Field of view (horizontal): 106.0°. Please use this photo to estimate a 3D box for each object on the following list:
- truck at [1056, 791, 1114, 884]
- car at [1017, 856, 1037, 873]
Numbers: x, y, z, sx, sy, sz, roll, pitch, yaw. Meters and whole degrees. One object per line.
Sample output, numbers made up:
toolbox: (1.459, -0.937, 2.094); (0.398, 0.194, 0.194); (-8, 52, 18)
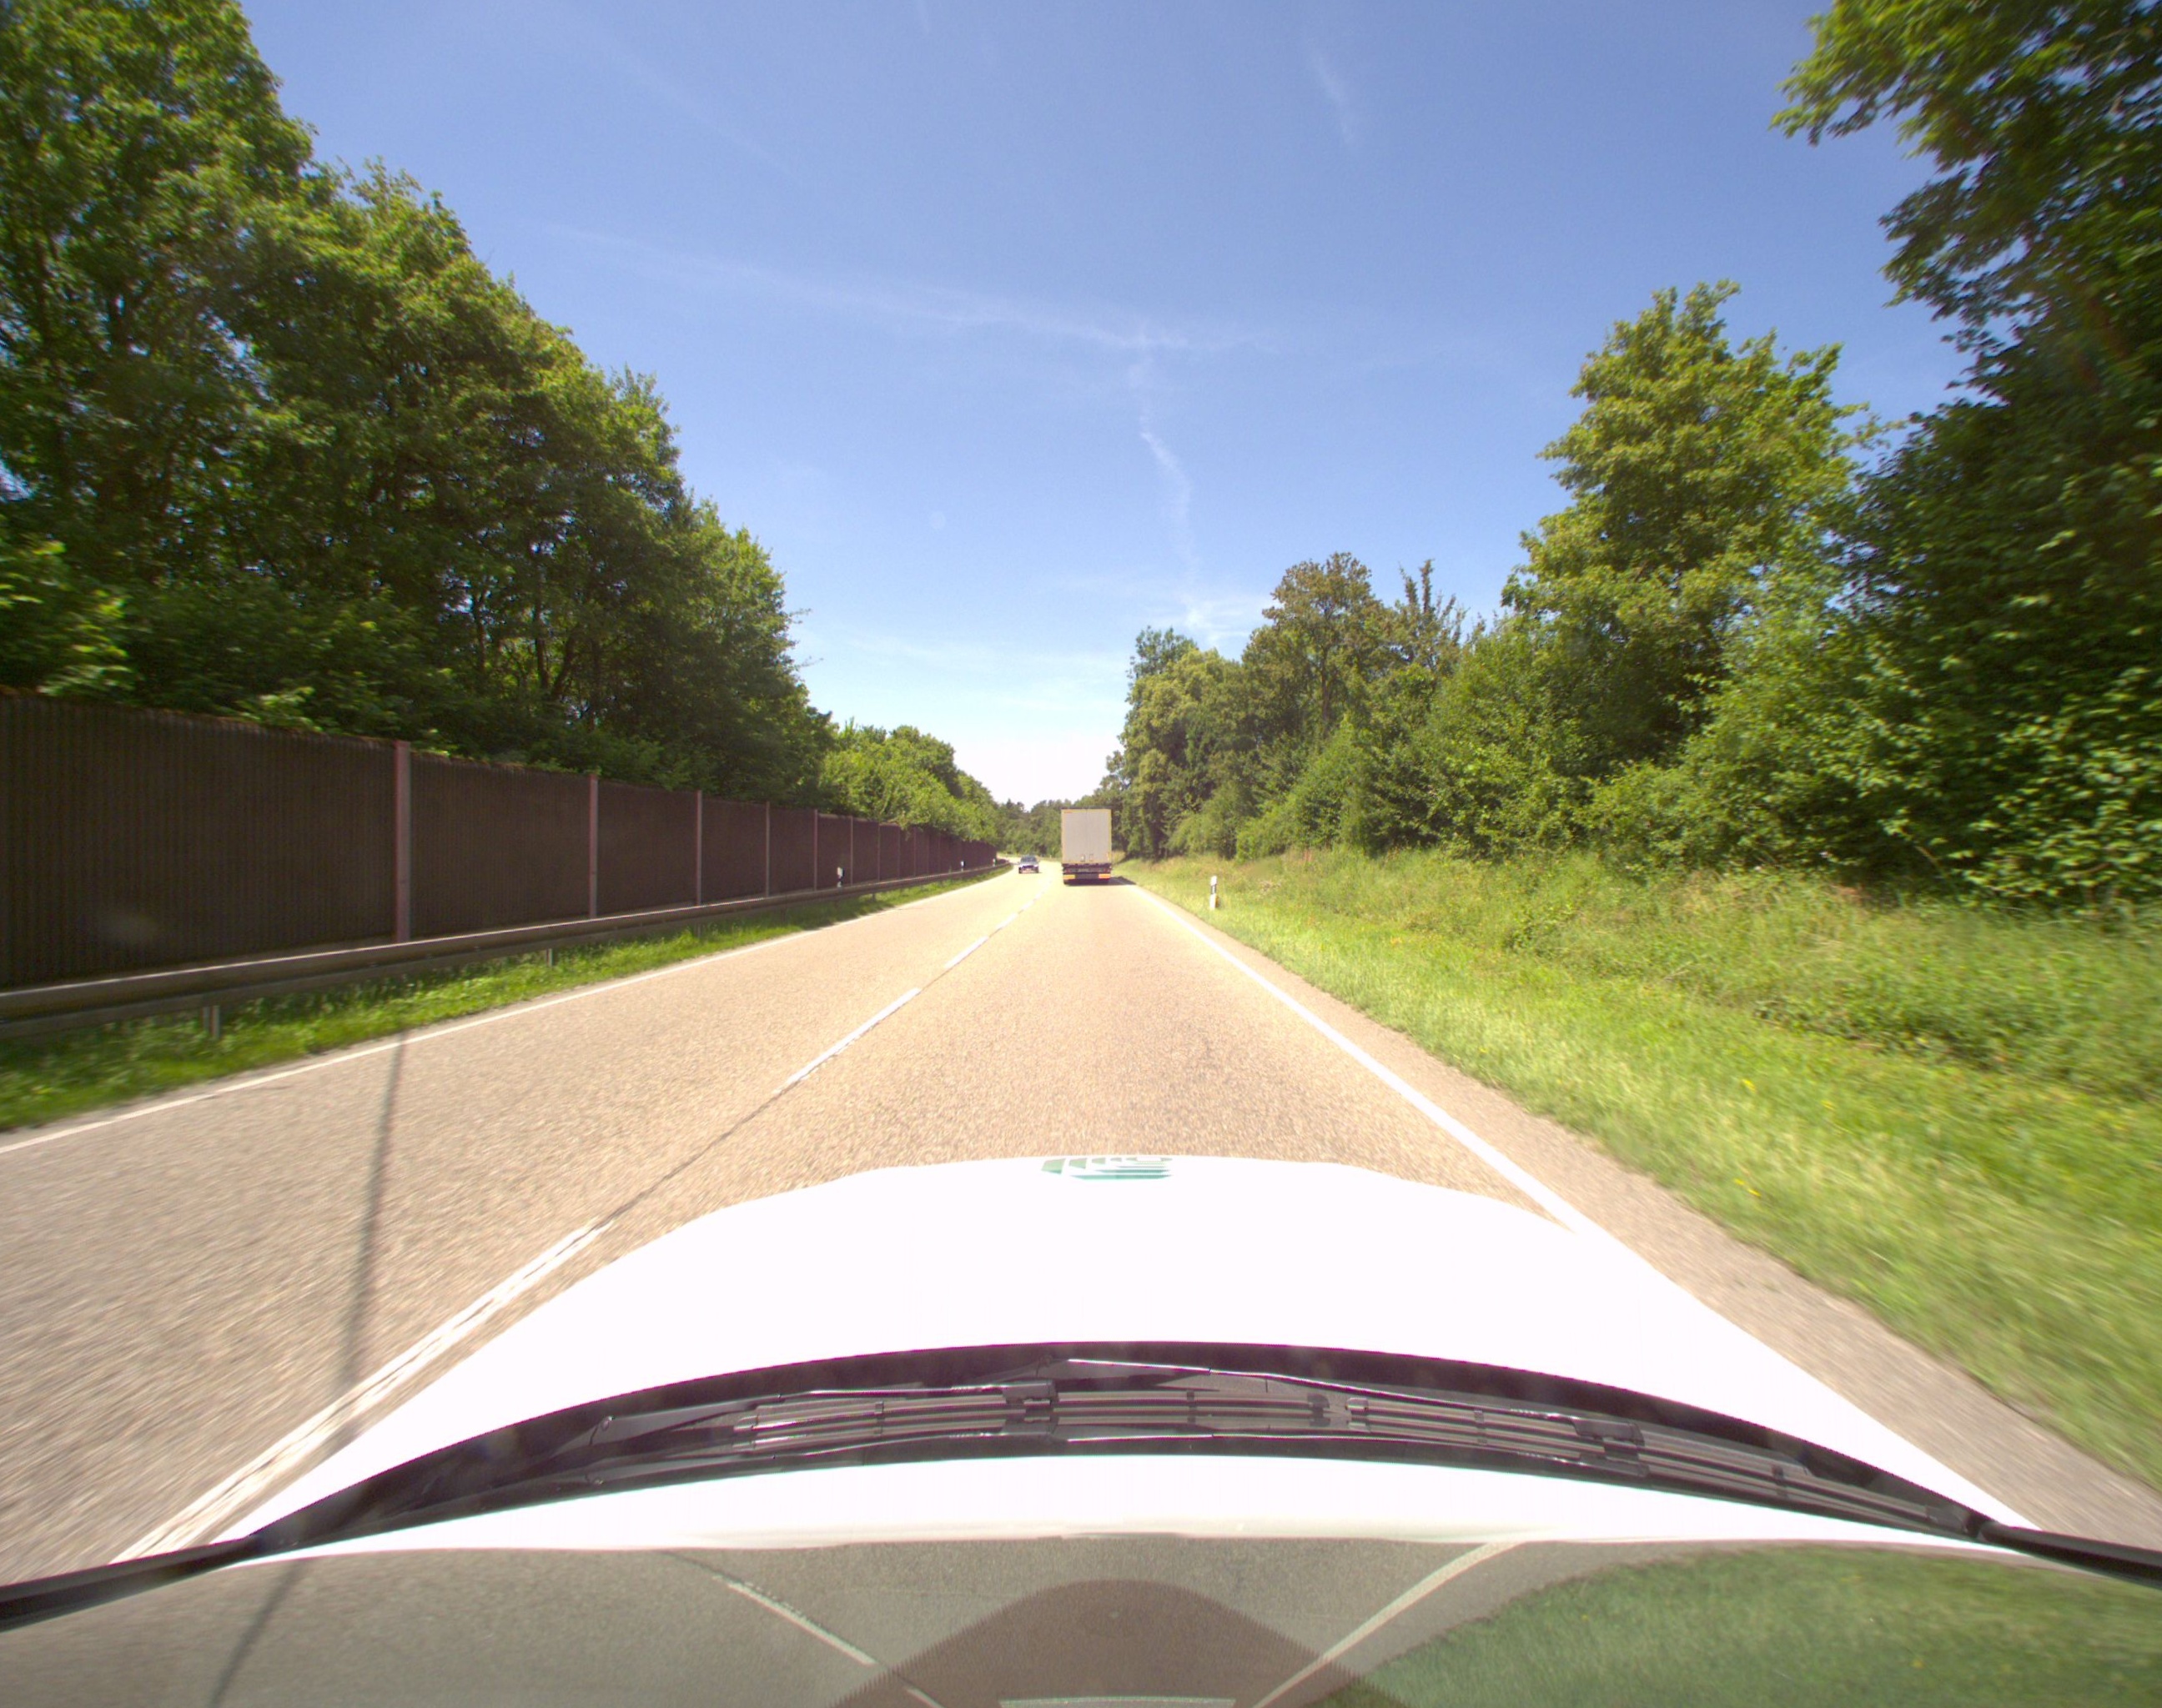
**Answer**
truck: (0.263, -0.752, 43.817); (2.813, 4.604, 6.665); (-1, -1, 1)
car: (-4.940, 0.910, 74.282); (1.615, 1.491, 3.609); (-1, 0, -6)
